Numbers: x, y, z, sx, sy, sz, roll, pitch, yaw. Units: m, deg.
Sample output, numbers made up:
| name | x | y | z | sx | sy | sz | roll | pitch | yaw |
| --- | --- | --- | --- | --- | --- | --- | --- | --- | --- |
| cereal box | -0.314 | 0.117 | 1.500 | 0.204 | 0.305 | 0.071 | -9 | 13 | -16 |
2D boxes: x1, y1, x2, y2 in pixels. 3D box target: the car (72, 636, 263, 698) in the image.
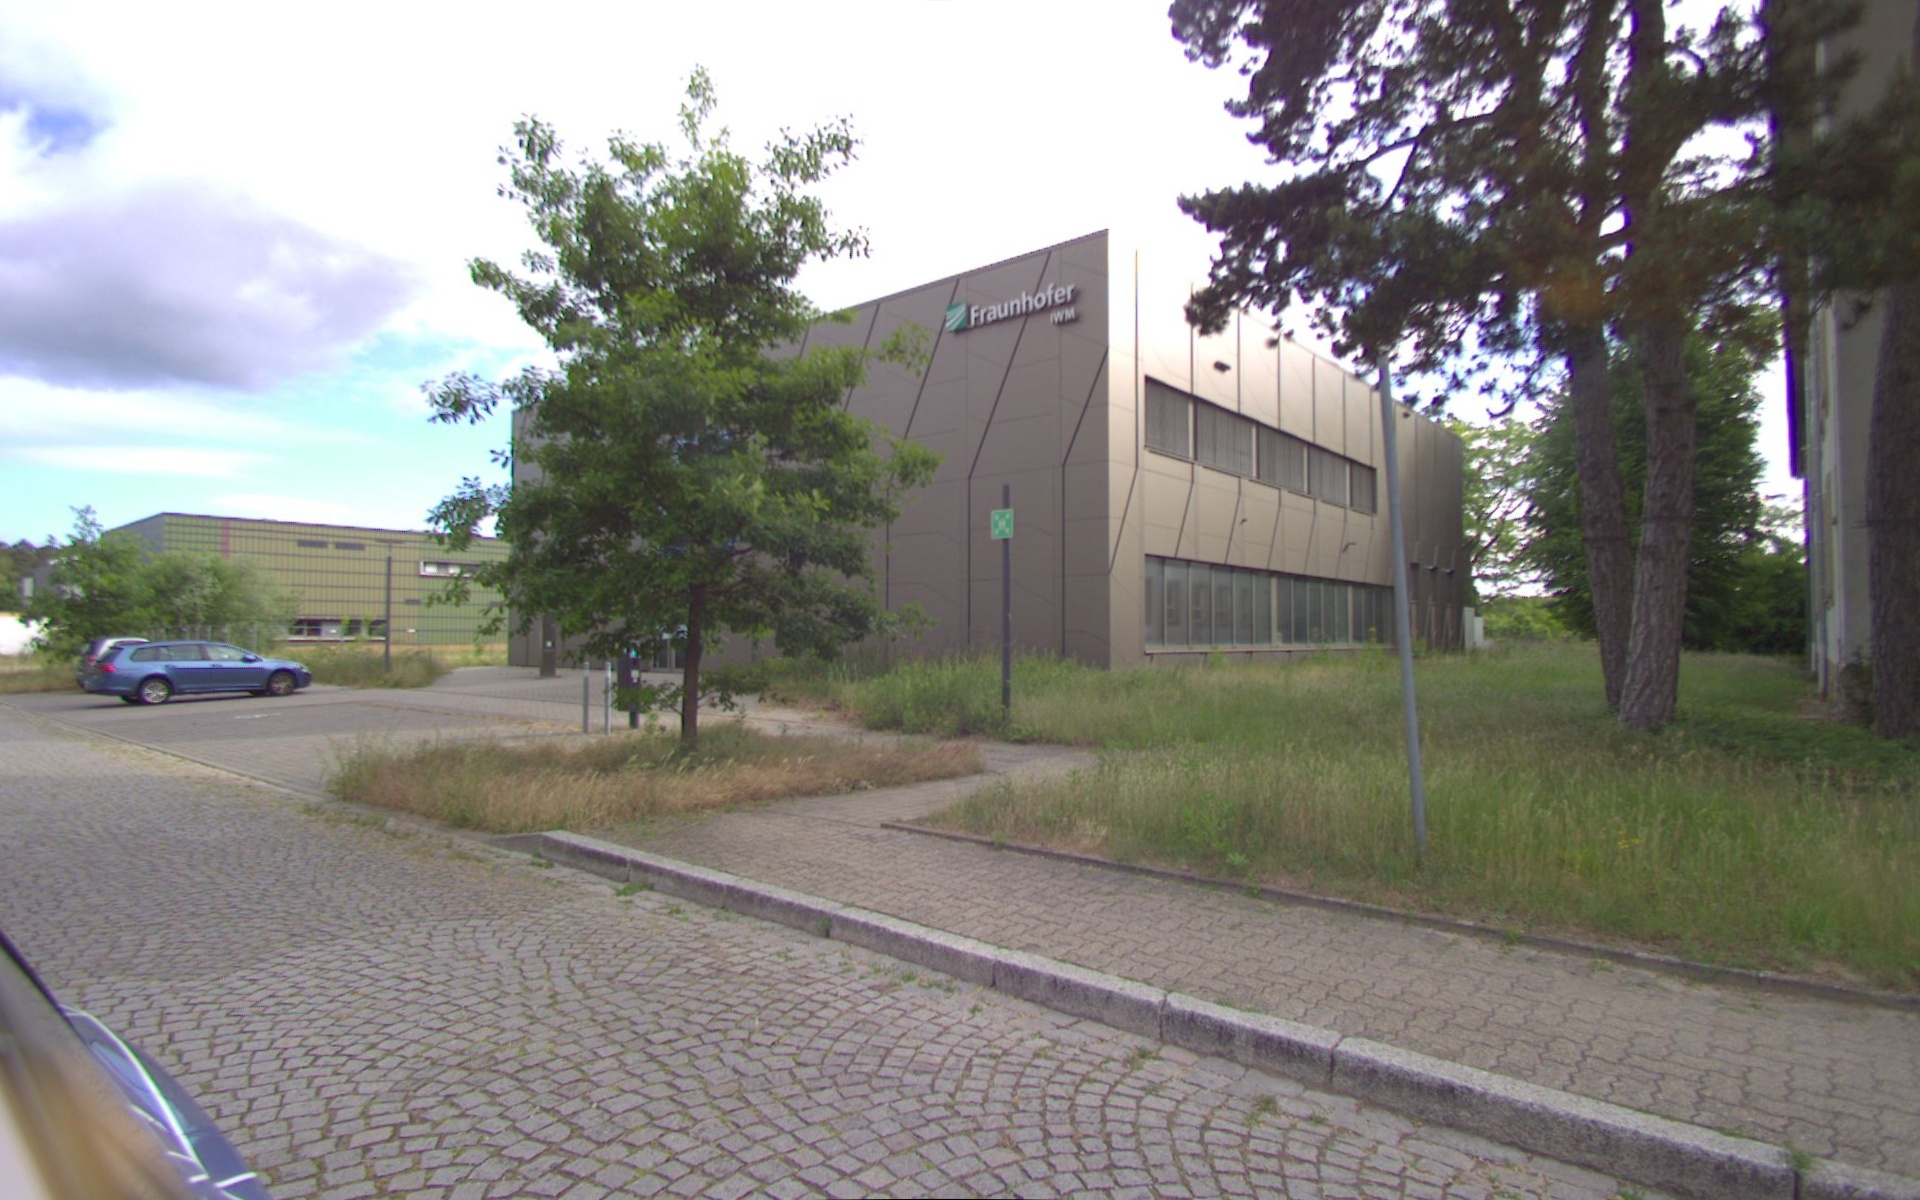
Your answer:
| name | x | y | z | sx | sy | sz | roll | pitch | yaw |
| --- | --- | --- | --- | --- | --- | --- | --- | --- | --- |
| car | -23.667 | 1.941 | 30.315 | 4.340 | 1.557 | 1.843 | -1 | -1 | -43 |

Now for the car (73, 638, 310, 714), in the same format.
| name | x | y | z | sx | sy | sz | roll | pitch | yaw |
| --- | --- | --- | --- | --- | --- | --- | --- | --- | --- |
| car | -18.723 | 1.779 | 24.850 | 1.714 | 1.522 | 4.351 | -2 | -1 | 37 |
